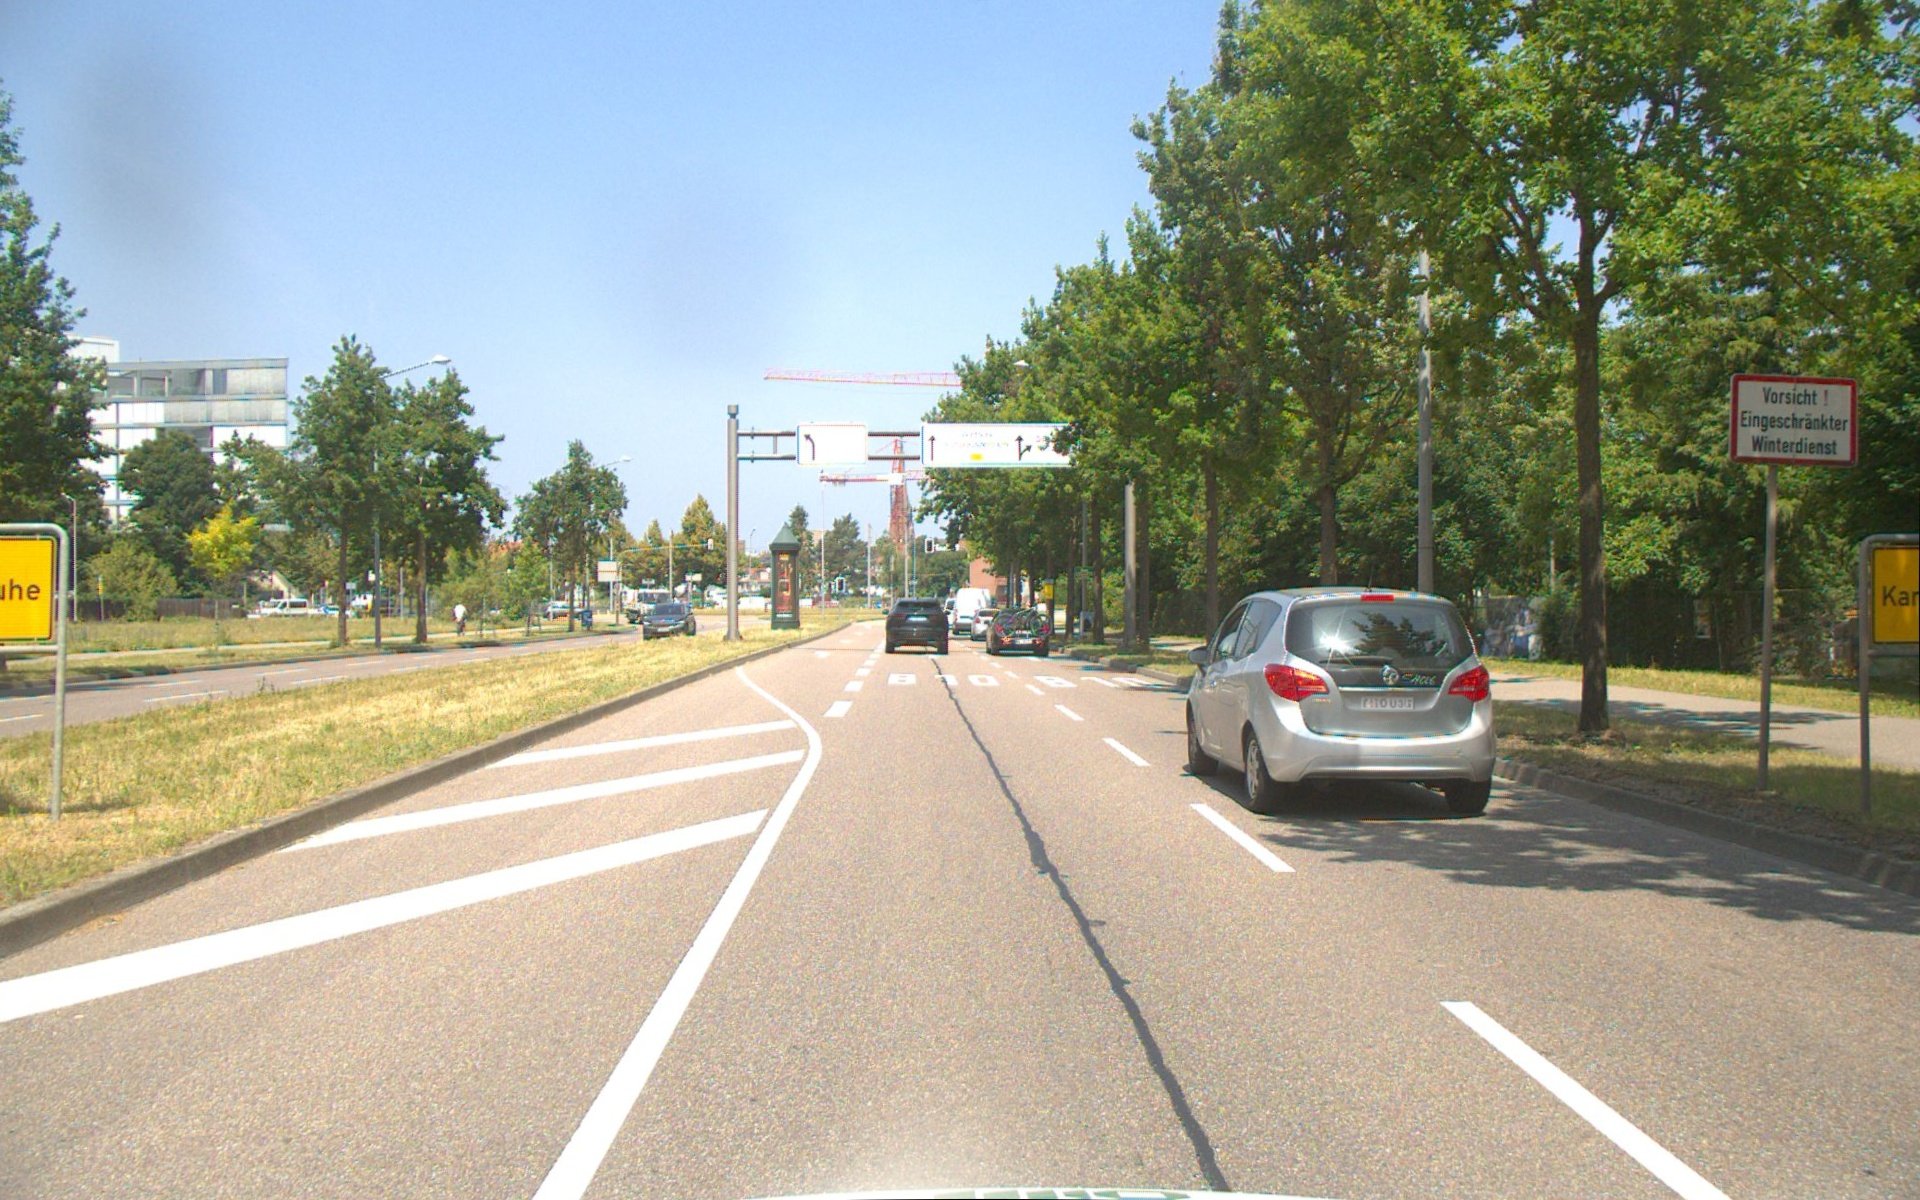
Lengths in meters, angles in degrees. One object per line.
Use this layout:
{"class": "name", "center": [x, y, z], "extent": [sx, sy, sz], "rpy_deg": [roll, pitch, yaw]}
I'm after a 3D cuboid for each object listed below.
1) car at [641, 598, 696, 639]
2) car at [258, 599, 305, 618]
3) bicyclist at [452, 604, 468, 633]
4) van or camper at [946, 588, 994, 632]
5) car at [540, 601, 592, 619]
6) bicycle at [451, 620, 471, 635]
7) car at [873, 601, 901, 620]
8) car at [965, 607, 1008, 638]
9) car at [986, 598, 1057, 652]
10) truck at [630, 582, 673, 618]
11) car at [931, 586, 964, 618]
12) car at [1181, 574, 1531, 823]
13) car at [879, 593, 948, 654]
{"class": "car", "center": [-12.424, 0.763, 70.704], "extent": [1.855, 1.639, 4.531], "rpy_deg": [0, 0, -4]}
{"class": "car", "center": [-70.532, 0.865, 171.885], "extent": [1.955, 1.911, 4.283], "rpy_deg": [-1, 0, 28]}
{"class": "bicyclist", "center": [-26.009, 0.945, 86.073], "extent": [0.610, 1.515, 0.757], "rpy_deg": [0, 0, 1]}
{"class": "van or camper", "center": [0.512, 0.528, 91.324], "extent": [2.443, 2.331, 4.919], "rpy_deg": [-1, 0, -1]}
{"class": "car", "center": [-33.142, 0.852, 139.259], "extent": [3.906, 1.478, 2.000], "rpy_deg": [0, 0, -1]}
{"class": "bicycle", "center": [-25.998, 1.428, 86.153], "extent": [0.471, 0.728, 1.850], "rpy_deg": [0, 0, 1]}
{"class": "car", "center": [-5.742, 0.805, 129.107], "extent": [1.955, 1.344, 3.995], "rpy_deg": [0, 1, -6]}
{"class": "car", "center": [1.217, 1.023, 76.649], "extent": [1.622, 1.380, 4.457], "rpy_deg": [-1, 0, -4]}
{"class": "car", "center": [1.826, 0.724, 50.333], "extent": [1.973, 1.544, 4.460], "rpy_deg": [-1, 0, 0]}
{"class": "truck", "center": [-23.468, -0.021, 126.125], "extent": [2.587, 2.621, 6.312], "rpy_deg": [0, 0, -5]}
{"class": "car", "center": [-0.830, 0.101, 107.110], "extent": [1.954, 2.049, 3.997], "rpy_deg": [0, 0, -4]}
{"class": "car", "center": [2.902, 0.645, 12.970], "extent": [1.756, 1.640, 3.890], "rpy_deg": [1, 0, -1]}
{"class": "car", "center": [-1.372, 0.682, 50.367], "extent": [1.957, 1.719, 4.034], "rpy_deg": [1, 0, 0]}
